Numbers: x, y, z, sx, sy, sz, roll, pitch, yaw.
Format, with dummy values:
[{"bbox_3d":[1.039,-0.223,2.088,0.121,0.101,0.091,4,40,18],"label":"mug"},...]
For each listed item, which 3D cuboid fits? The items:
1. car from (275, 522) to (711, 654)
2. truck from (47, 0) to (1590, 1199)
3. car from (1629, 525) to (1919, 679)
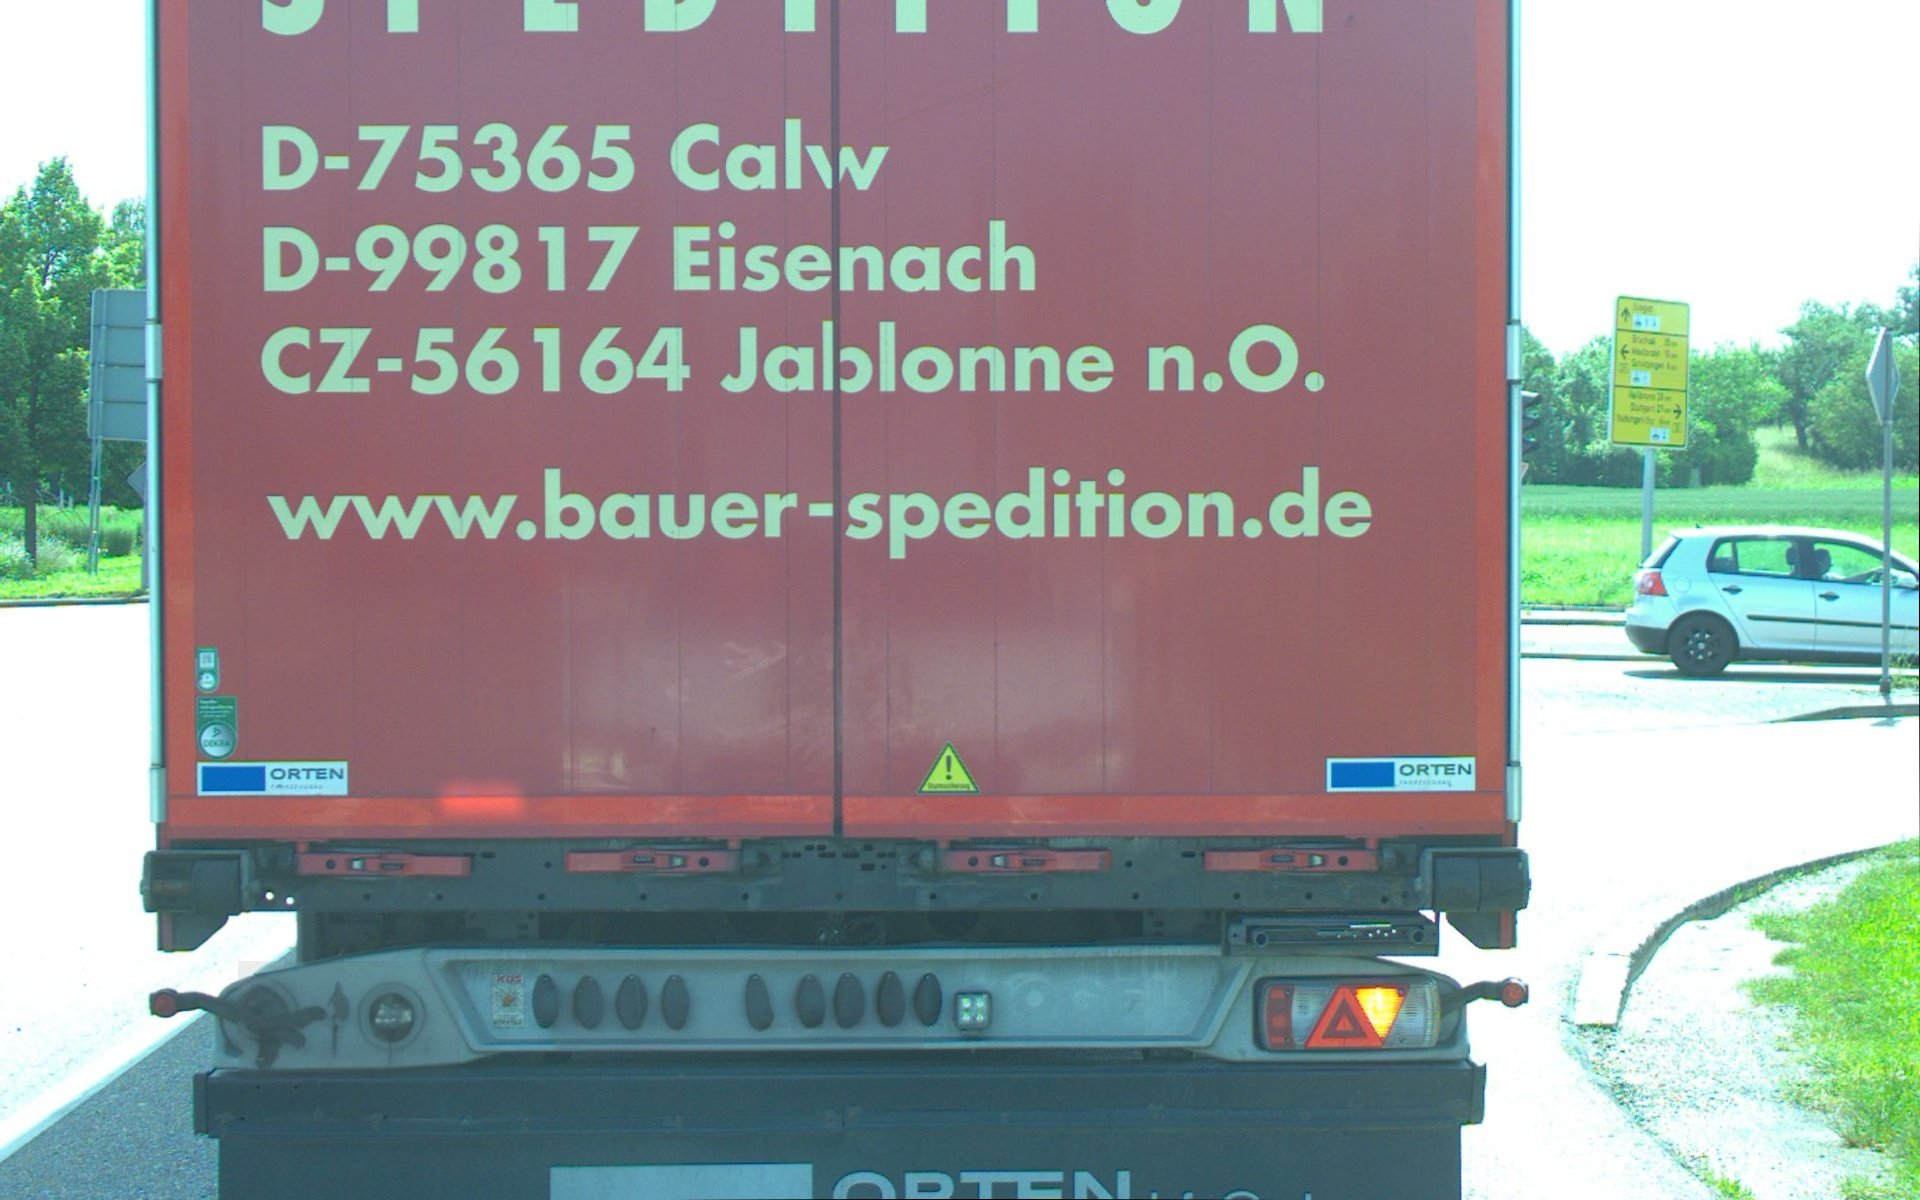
[{"bbox_3d":[-4.975,-0.139,36.801,4.269,1.300,1.741,1,1,13],"label":"car"},{"bbox_3d":[-0.381,-0.799,14.429,2.734,3.911,16.627,0,1,-1],"label":"truck"},{"bbox_3d":[8.683,0.005,33.933,4.037,1.412,1.794,1,2,12],"label":"car"}]
